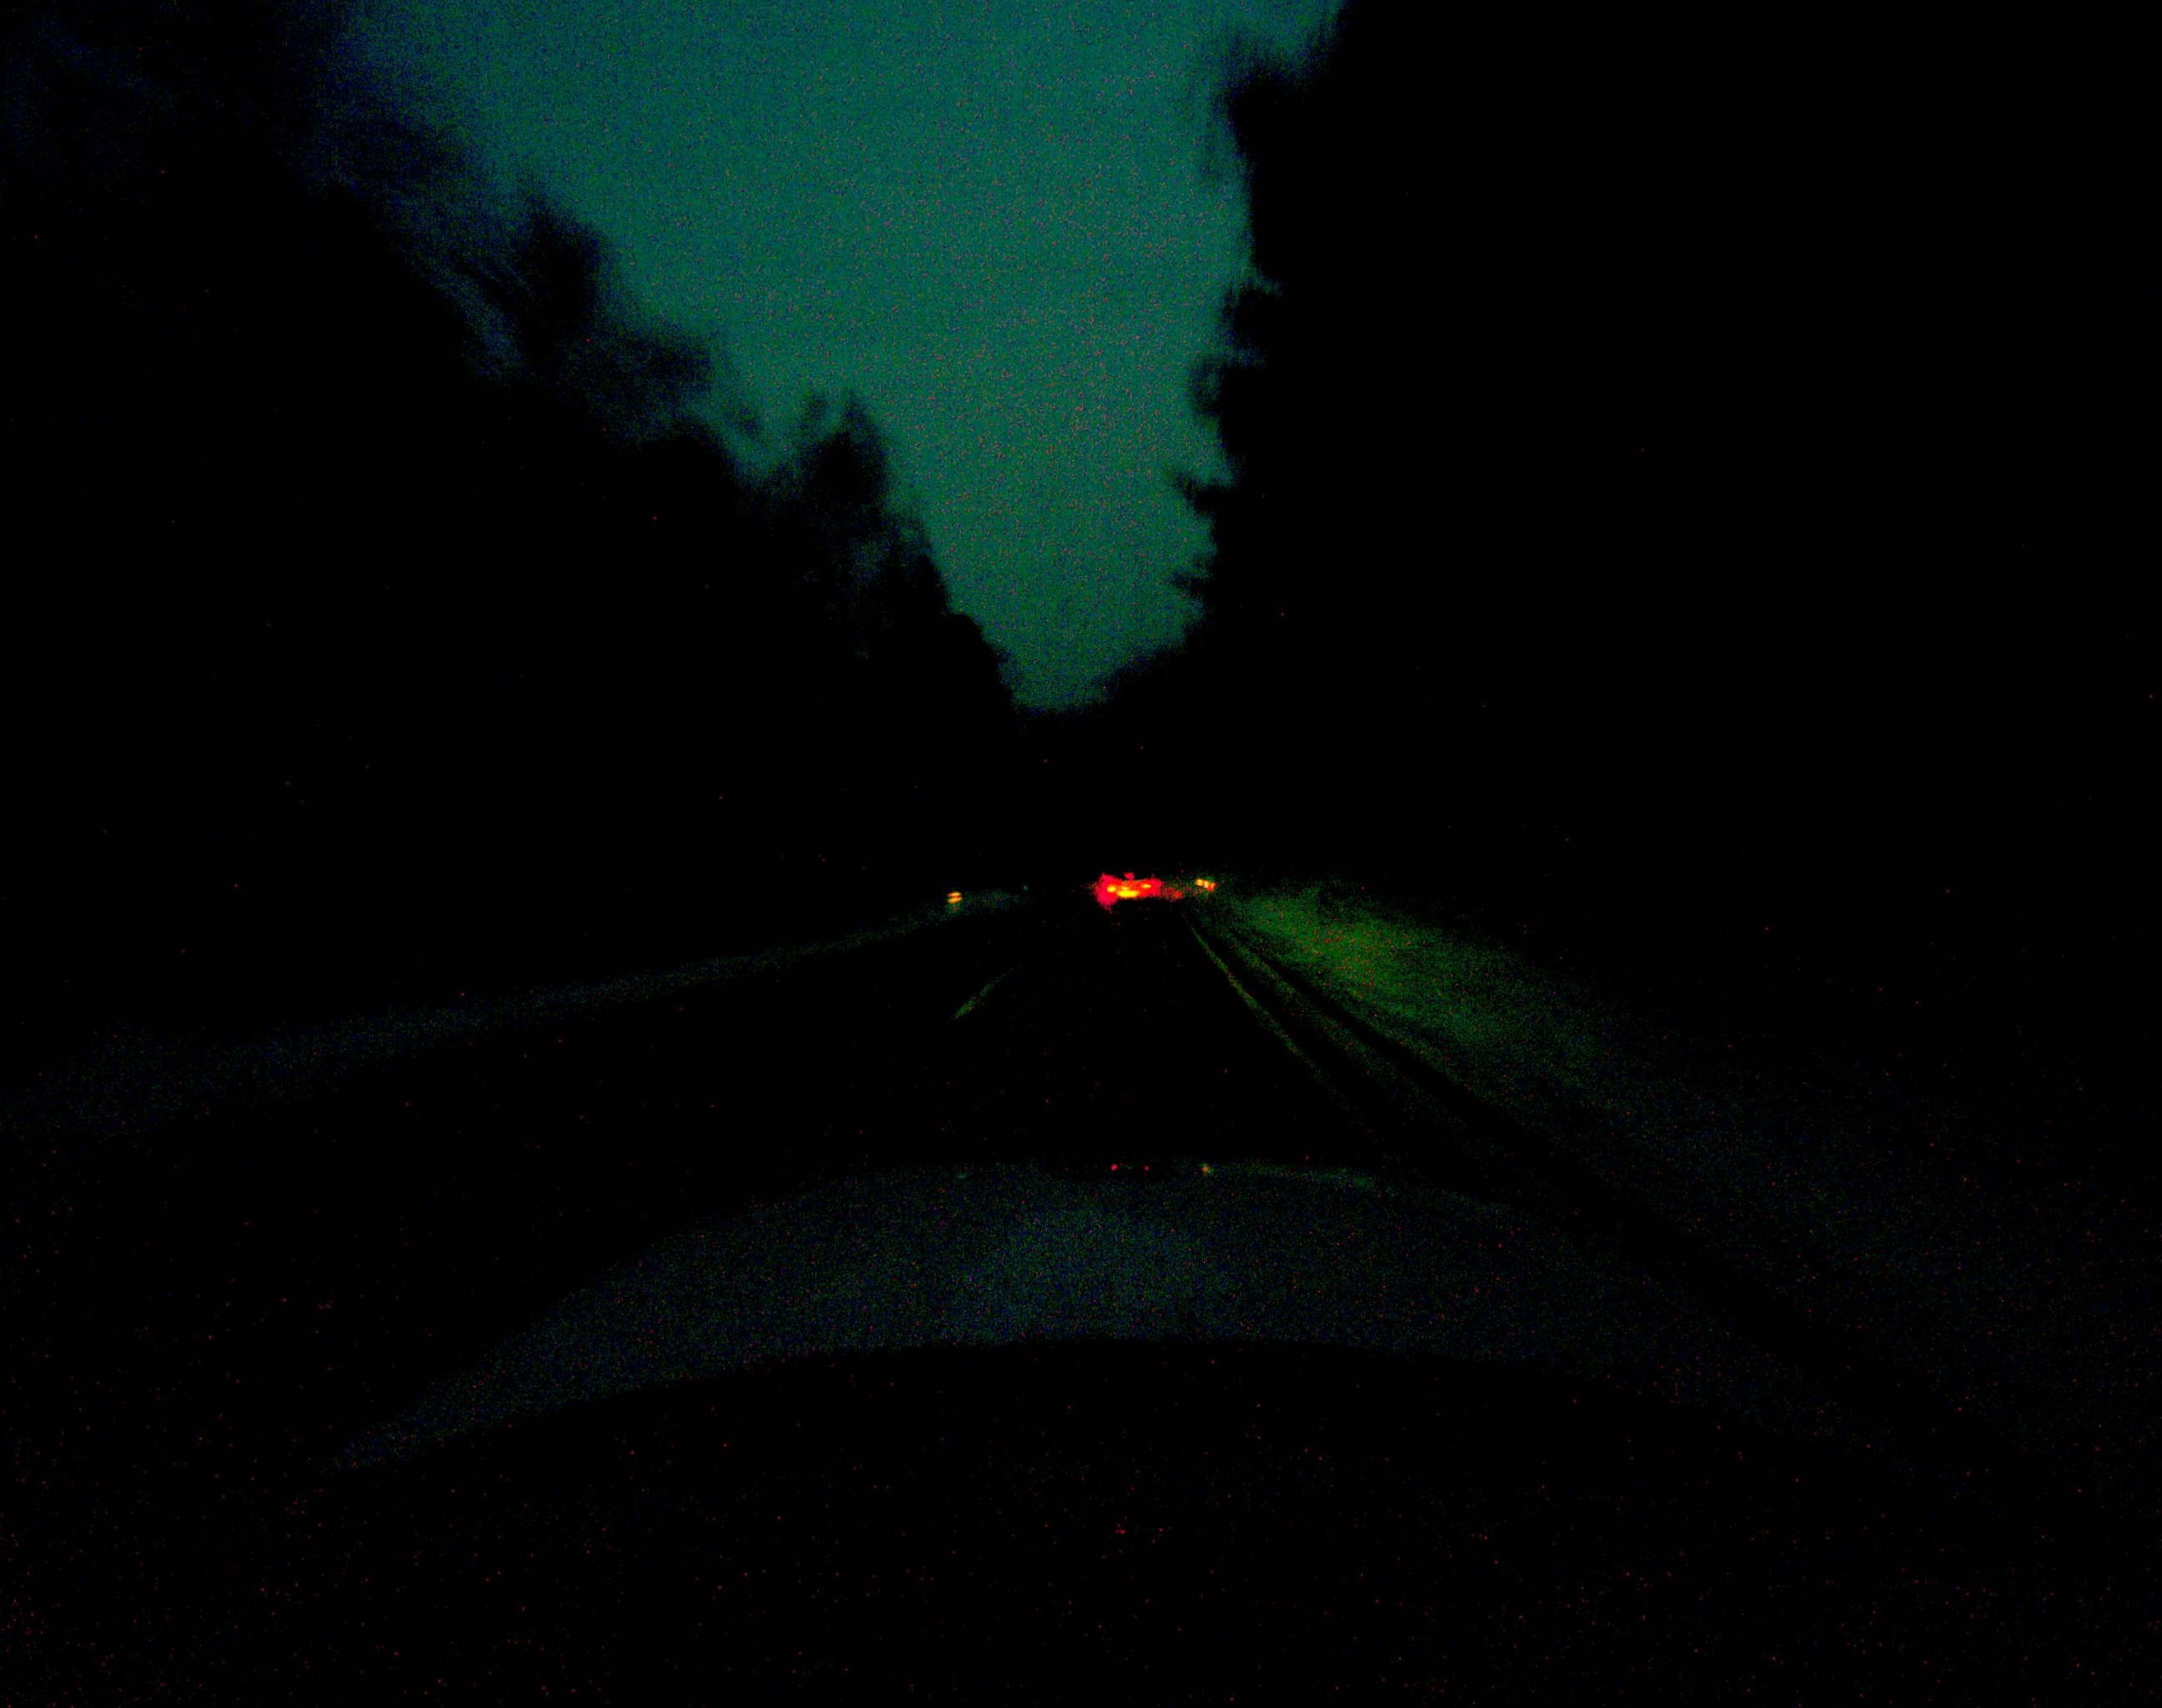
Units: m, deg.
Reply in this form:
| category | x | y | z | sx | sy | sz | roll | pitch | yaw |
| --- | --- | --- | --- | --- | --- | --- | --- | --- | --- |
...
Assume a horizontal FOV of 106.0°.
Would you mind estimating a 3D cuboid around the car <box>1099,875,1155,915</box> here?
| category | x | y | z | sx | sy | sz | roll | pitch | yaw |
| --- | --- | --- | --- | --- | --- | --- | --- | --- | --- |
| car | 1.677 | 1.576 | 30.382 | 1.938 | 1.382 | 4.000 | -1 | -4 | 2 |

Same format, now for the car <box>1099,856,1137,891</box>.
| category | x | y | z | sx | sy | sz | roll | pitch | yaw |
| --- | --- | --- | --- | --- | --- | --- | --- | --- | --- |
| car | 2.182 | 1.220 | 48.955 | 1.988 | 1.784 | 3.996 | 1 | -5 | -1 |
